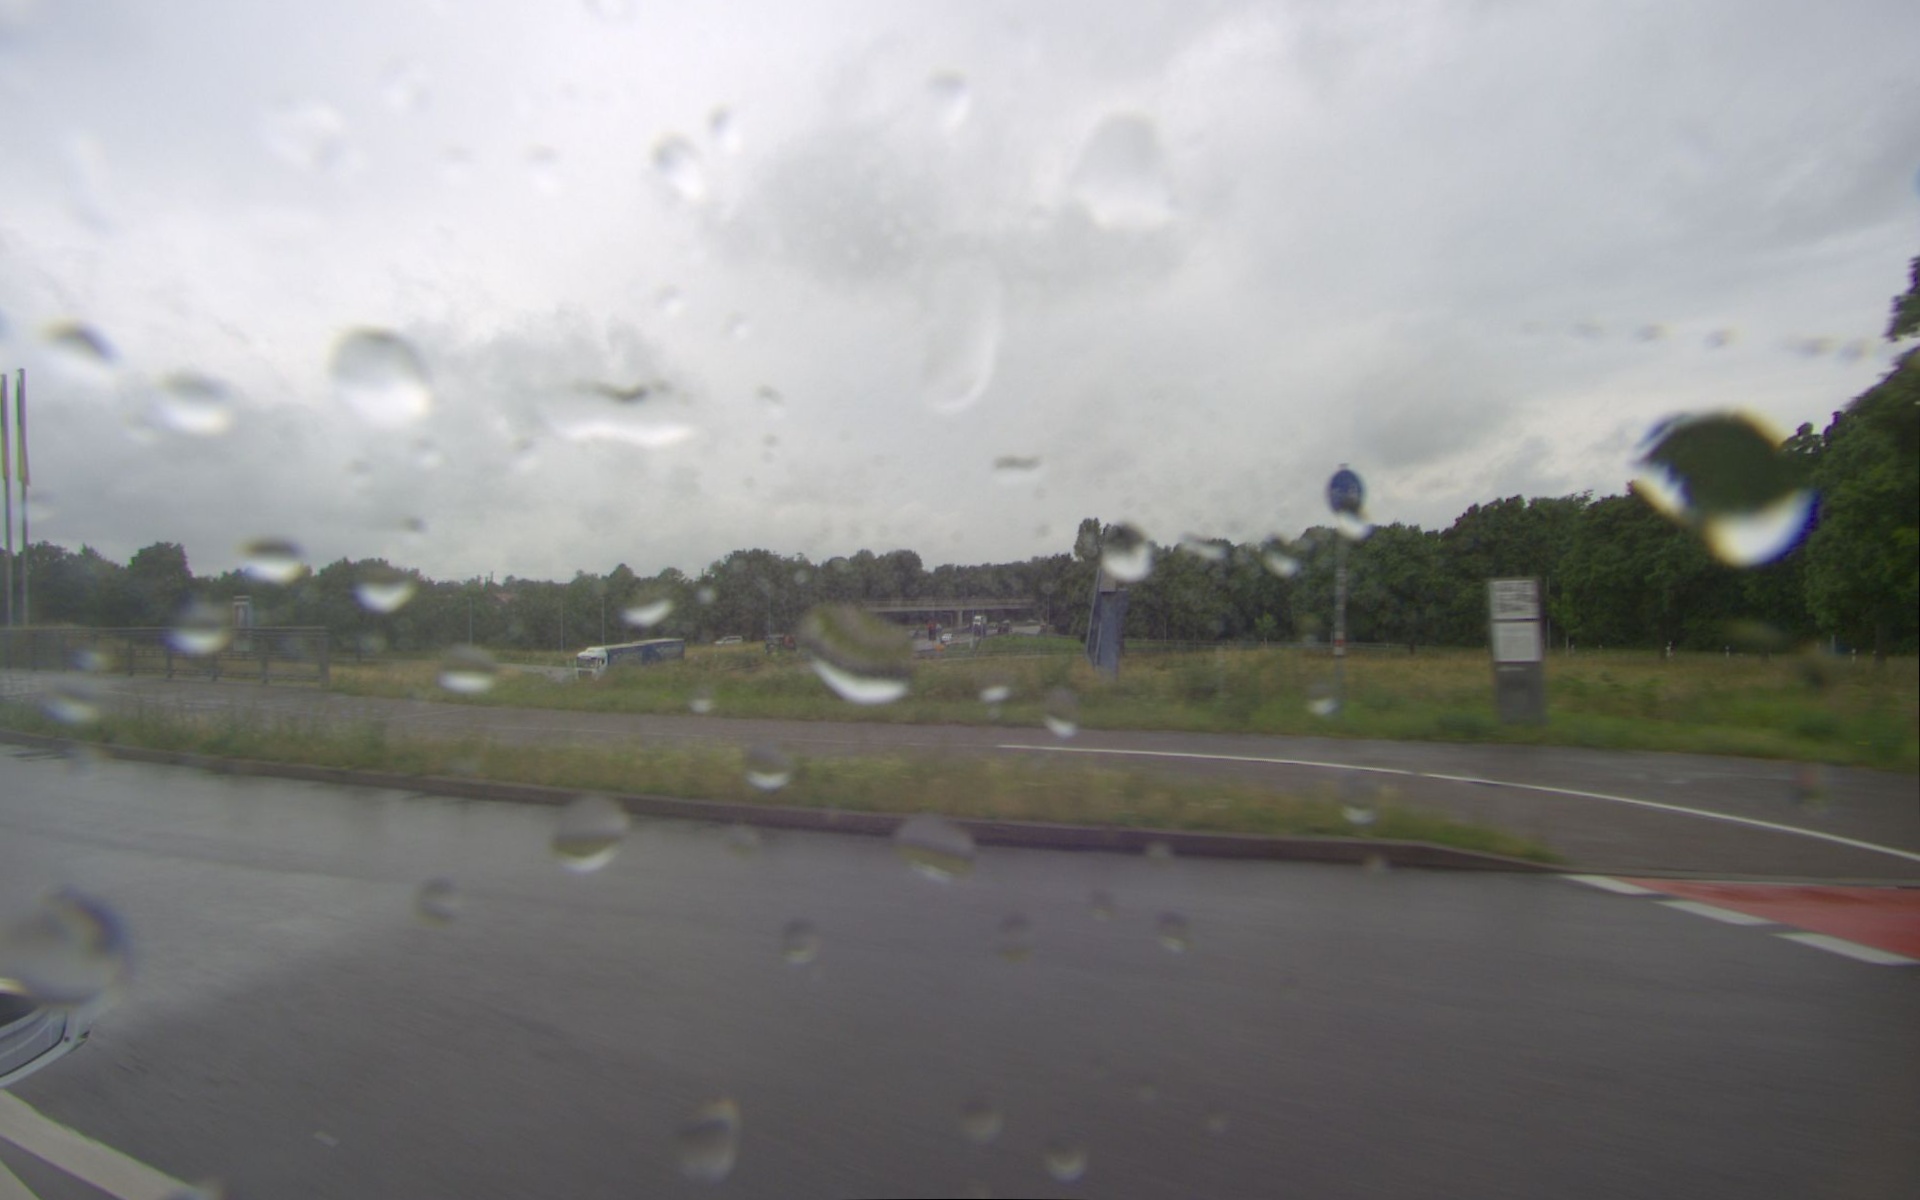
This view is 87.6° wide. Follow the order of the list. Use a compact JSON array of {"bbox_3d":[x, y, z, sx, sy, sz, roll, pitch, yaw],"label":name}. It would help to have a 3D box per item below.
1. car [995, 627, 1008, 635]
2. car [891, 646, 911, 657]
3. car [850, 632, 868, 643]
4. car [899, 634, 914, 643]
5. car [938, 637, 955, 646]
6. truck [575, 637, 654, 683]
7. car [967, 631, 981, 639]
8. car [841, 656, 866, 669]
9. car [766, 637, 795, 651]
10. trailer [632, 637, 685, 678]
[{"bbox_3d":[9.364,6.978,224.737,1.963,1.613,3.996,0,-1,16],"label":"car"},{"bbox_3d":[-9.159,7.965,155.602,1.963,1.613,3.996,0,-1,16],"label":"car"},{"bbox_3d":[-18.666,6.884,185.034,1.963,1.976,3.996,0,-1,16],"label":"car"},{"bbox_3d":[-10.473,7.545,196.043,1.731,1.809,3.997,0,-1,15],"label":"car"},{"bbox_3d":[-2.383,7.457,181.283,1.963,1.613,3.996,0,-1,16],"label":"car"},{"bbox_3d":[-35.562,6.100,103.644,2.520,4.357,10.940,0,-1,11],"label":"truck"},{"bbox_3d":[2.881,7.327,209.115,1.963,1.613,3.996,0,-1,16],"label":"car"},{"bbox_3d":[-13.977,8.224,132.035,1.963,1.613,3.996,0,-1,16],"label":"car"},{"bbox_3d":[-26.169,6.396,146.218,2.255,1.990,5.617,0,-1,13],"label":"car"},{"bbox_3d":[-33.829,6.437,112.660,2.520,4.357,7.370,0,-1,11],"label":"trailer"}]
